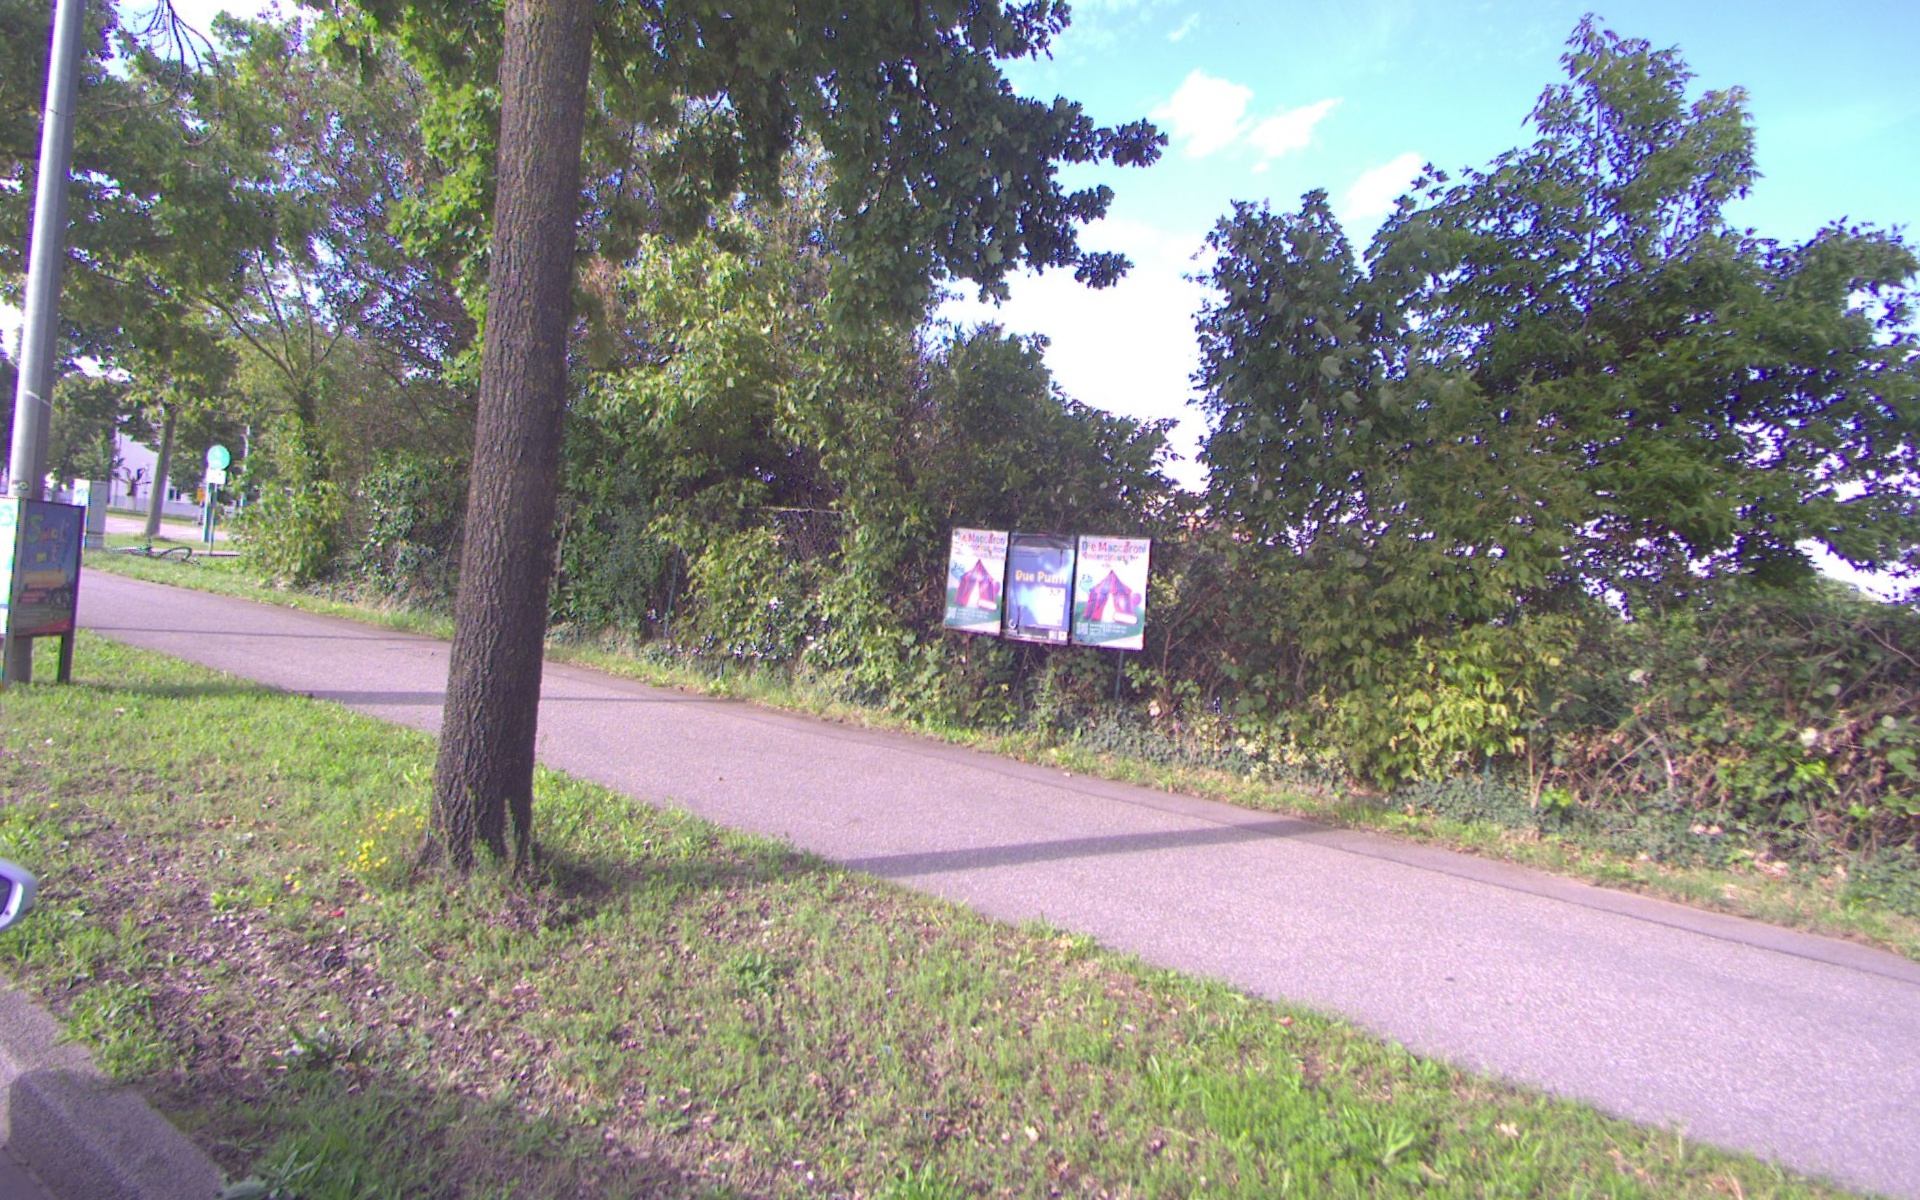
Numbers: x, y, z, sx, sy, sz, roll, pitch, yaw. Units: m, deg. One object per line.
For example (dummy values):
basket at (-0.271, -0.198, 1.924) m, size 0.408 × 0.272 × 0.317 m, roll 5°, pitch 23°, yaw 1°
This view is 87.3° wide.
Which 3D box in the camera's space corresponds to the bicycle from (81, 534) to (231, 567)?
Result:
bicycle at (-17.298, -1.062, 21.659) m, size 2.529 × 0.390 × 1.411 m, roll 7°, pitch 0°, yaw 21°
